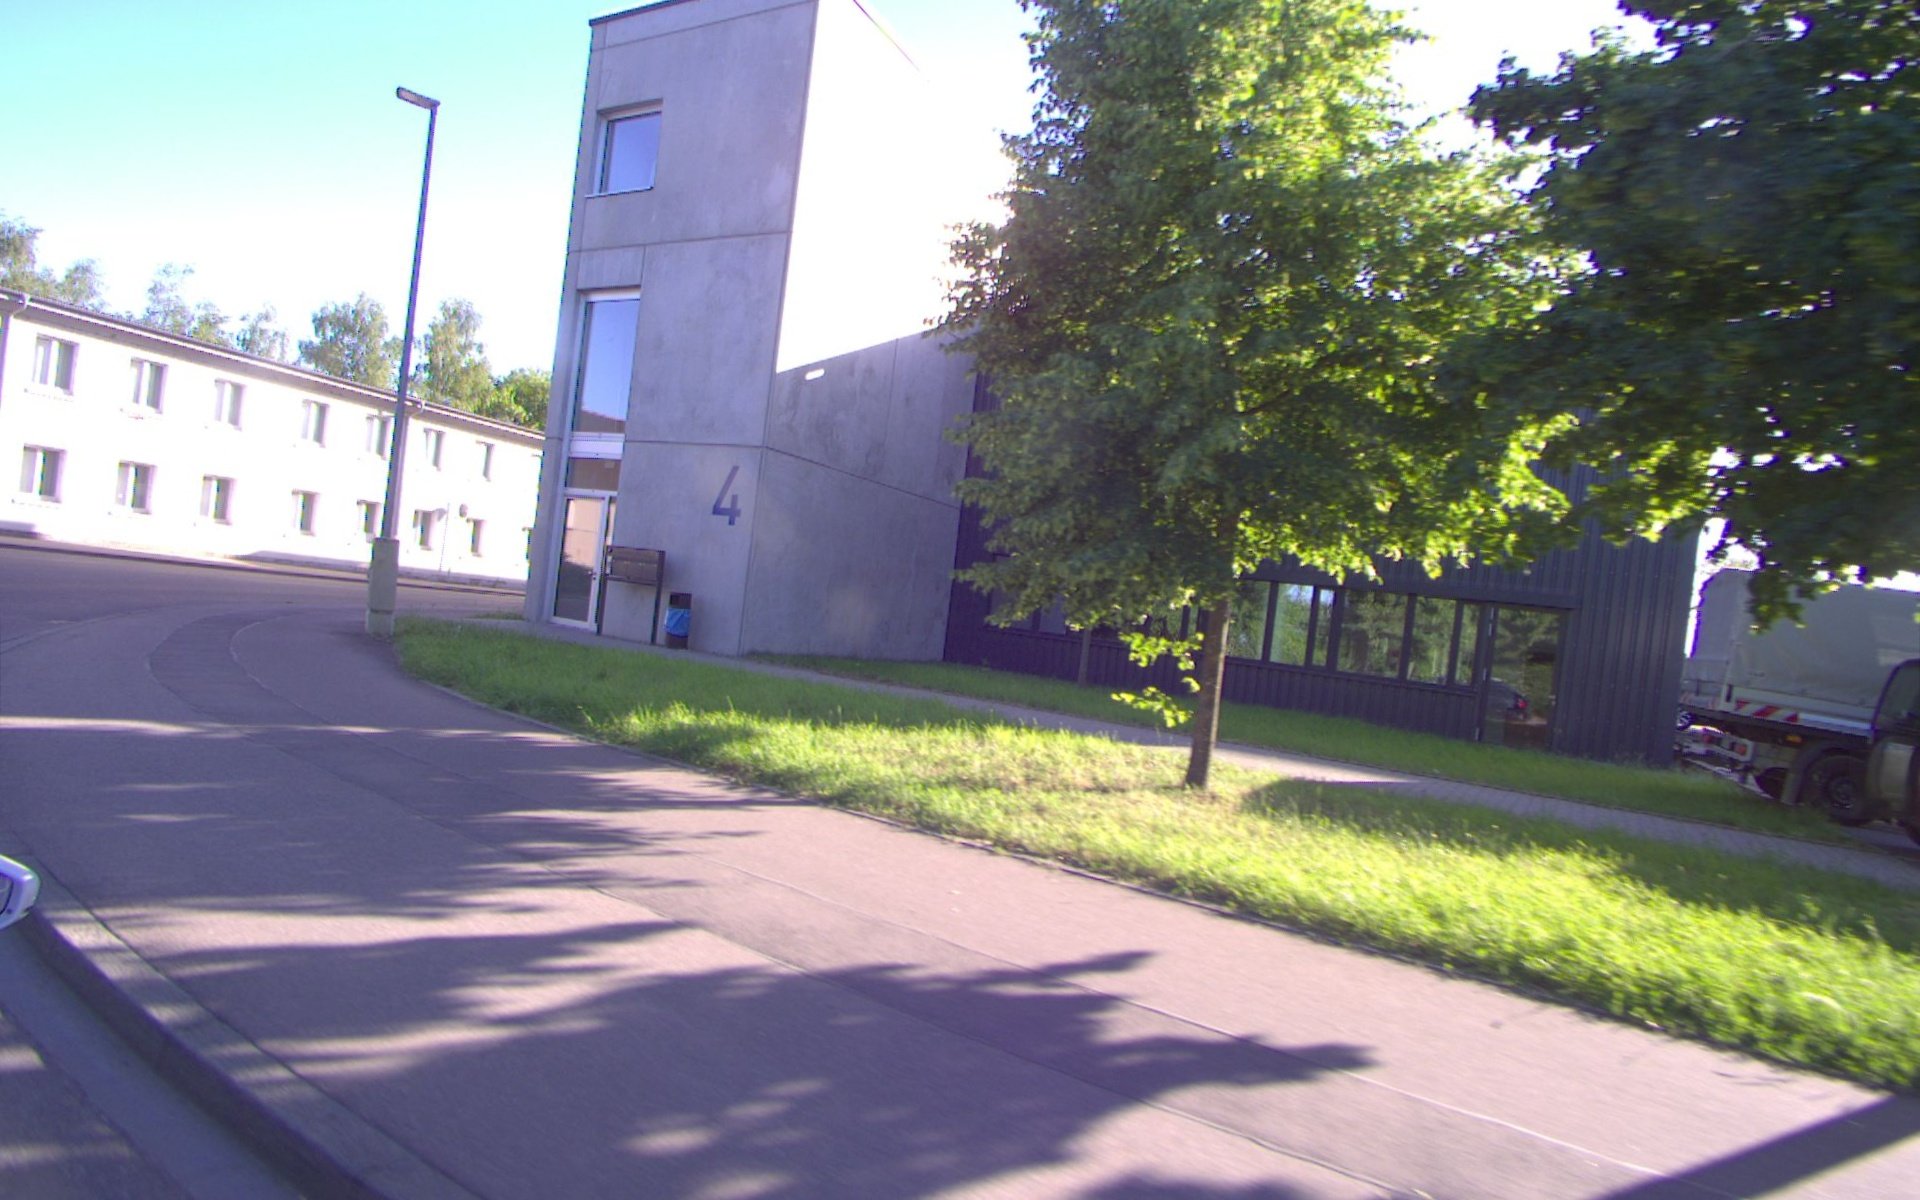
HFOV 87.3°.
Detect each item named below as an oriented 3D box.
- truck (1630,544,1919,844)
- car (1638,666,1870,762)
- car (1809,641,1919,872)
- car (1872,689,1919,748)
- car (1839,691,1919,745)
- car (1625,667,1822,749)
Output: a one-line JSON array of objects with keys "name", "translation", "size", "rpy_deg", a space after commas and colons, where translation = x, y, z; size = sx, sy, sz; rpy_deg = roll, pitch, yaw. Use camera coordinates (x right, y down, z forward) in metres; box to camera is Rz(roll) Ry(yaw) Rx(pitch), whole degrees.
[{"name": "truck", "translation": [11.427, 1.291, 10.673], "size": [6.629, 2.869, 2.368], "rpy_deg": [7, -3, 25]}, {"name": "car", "translation": [20.581, 2.900, 26.342], "size": [4.335, 1.834, 1.838], "rpy_deg": [6, 0, 27]}, {"name": "car", "translation": [10.051, 1.557, 7.997], "size": [4.582, 1.834, 1.843], "rpy_deg": [6, -3, 25]}, {"name": "car", "translation": [32.790, 4.041, 33.816], "size": [1.756, 1.842, 4.005], "rpy_deg": [6, -4, 22]}, {"name": "car", "translation": [41.808, 5.294, 44.497], "size": [3.933, 1.982, 1.999], "rpy_deg": [5, -4, 30]}, {"name": "car", "translation": [22.924, 3.200, 30.428], "size": [4.335, 1.834, 1.838], "rpy_deg": [6, 0, 27]}]
